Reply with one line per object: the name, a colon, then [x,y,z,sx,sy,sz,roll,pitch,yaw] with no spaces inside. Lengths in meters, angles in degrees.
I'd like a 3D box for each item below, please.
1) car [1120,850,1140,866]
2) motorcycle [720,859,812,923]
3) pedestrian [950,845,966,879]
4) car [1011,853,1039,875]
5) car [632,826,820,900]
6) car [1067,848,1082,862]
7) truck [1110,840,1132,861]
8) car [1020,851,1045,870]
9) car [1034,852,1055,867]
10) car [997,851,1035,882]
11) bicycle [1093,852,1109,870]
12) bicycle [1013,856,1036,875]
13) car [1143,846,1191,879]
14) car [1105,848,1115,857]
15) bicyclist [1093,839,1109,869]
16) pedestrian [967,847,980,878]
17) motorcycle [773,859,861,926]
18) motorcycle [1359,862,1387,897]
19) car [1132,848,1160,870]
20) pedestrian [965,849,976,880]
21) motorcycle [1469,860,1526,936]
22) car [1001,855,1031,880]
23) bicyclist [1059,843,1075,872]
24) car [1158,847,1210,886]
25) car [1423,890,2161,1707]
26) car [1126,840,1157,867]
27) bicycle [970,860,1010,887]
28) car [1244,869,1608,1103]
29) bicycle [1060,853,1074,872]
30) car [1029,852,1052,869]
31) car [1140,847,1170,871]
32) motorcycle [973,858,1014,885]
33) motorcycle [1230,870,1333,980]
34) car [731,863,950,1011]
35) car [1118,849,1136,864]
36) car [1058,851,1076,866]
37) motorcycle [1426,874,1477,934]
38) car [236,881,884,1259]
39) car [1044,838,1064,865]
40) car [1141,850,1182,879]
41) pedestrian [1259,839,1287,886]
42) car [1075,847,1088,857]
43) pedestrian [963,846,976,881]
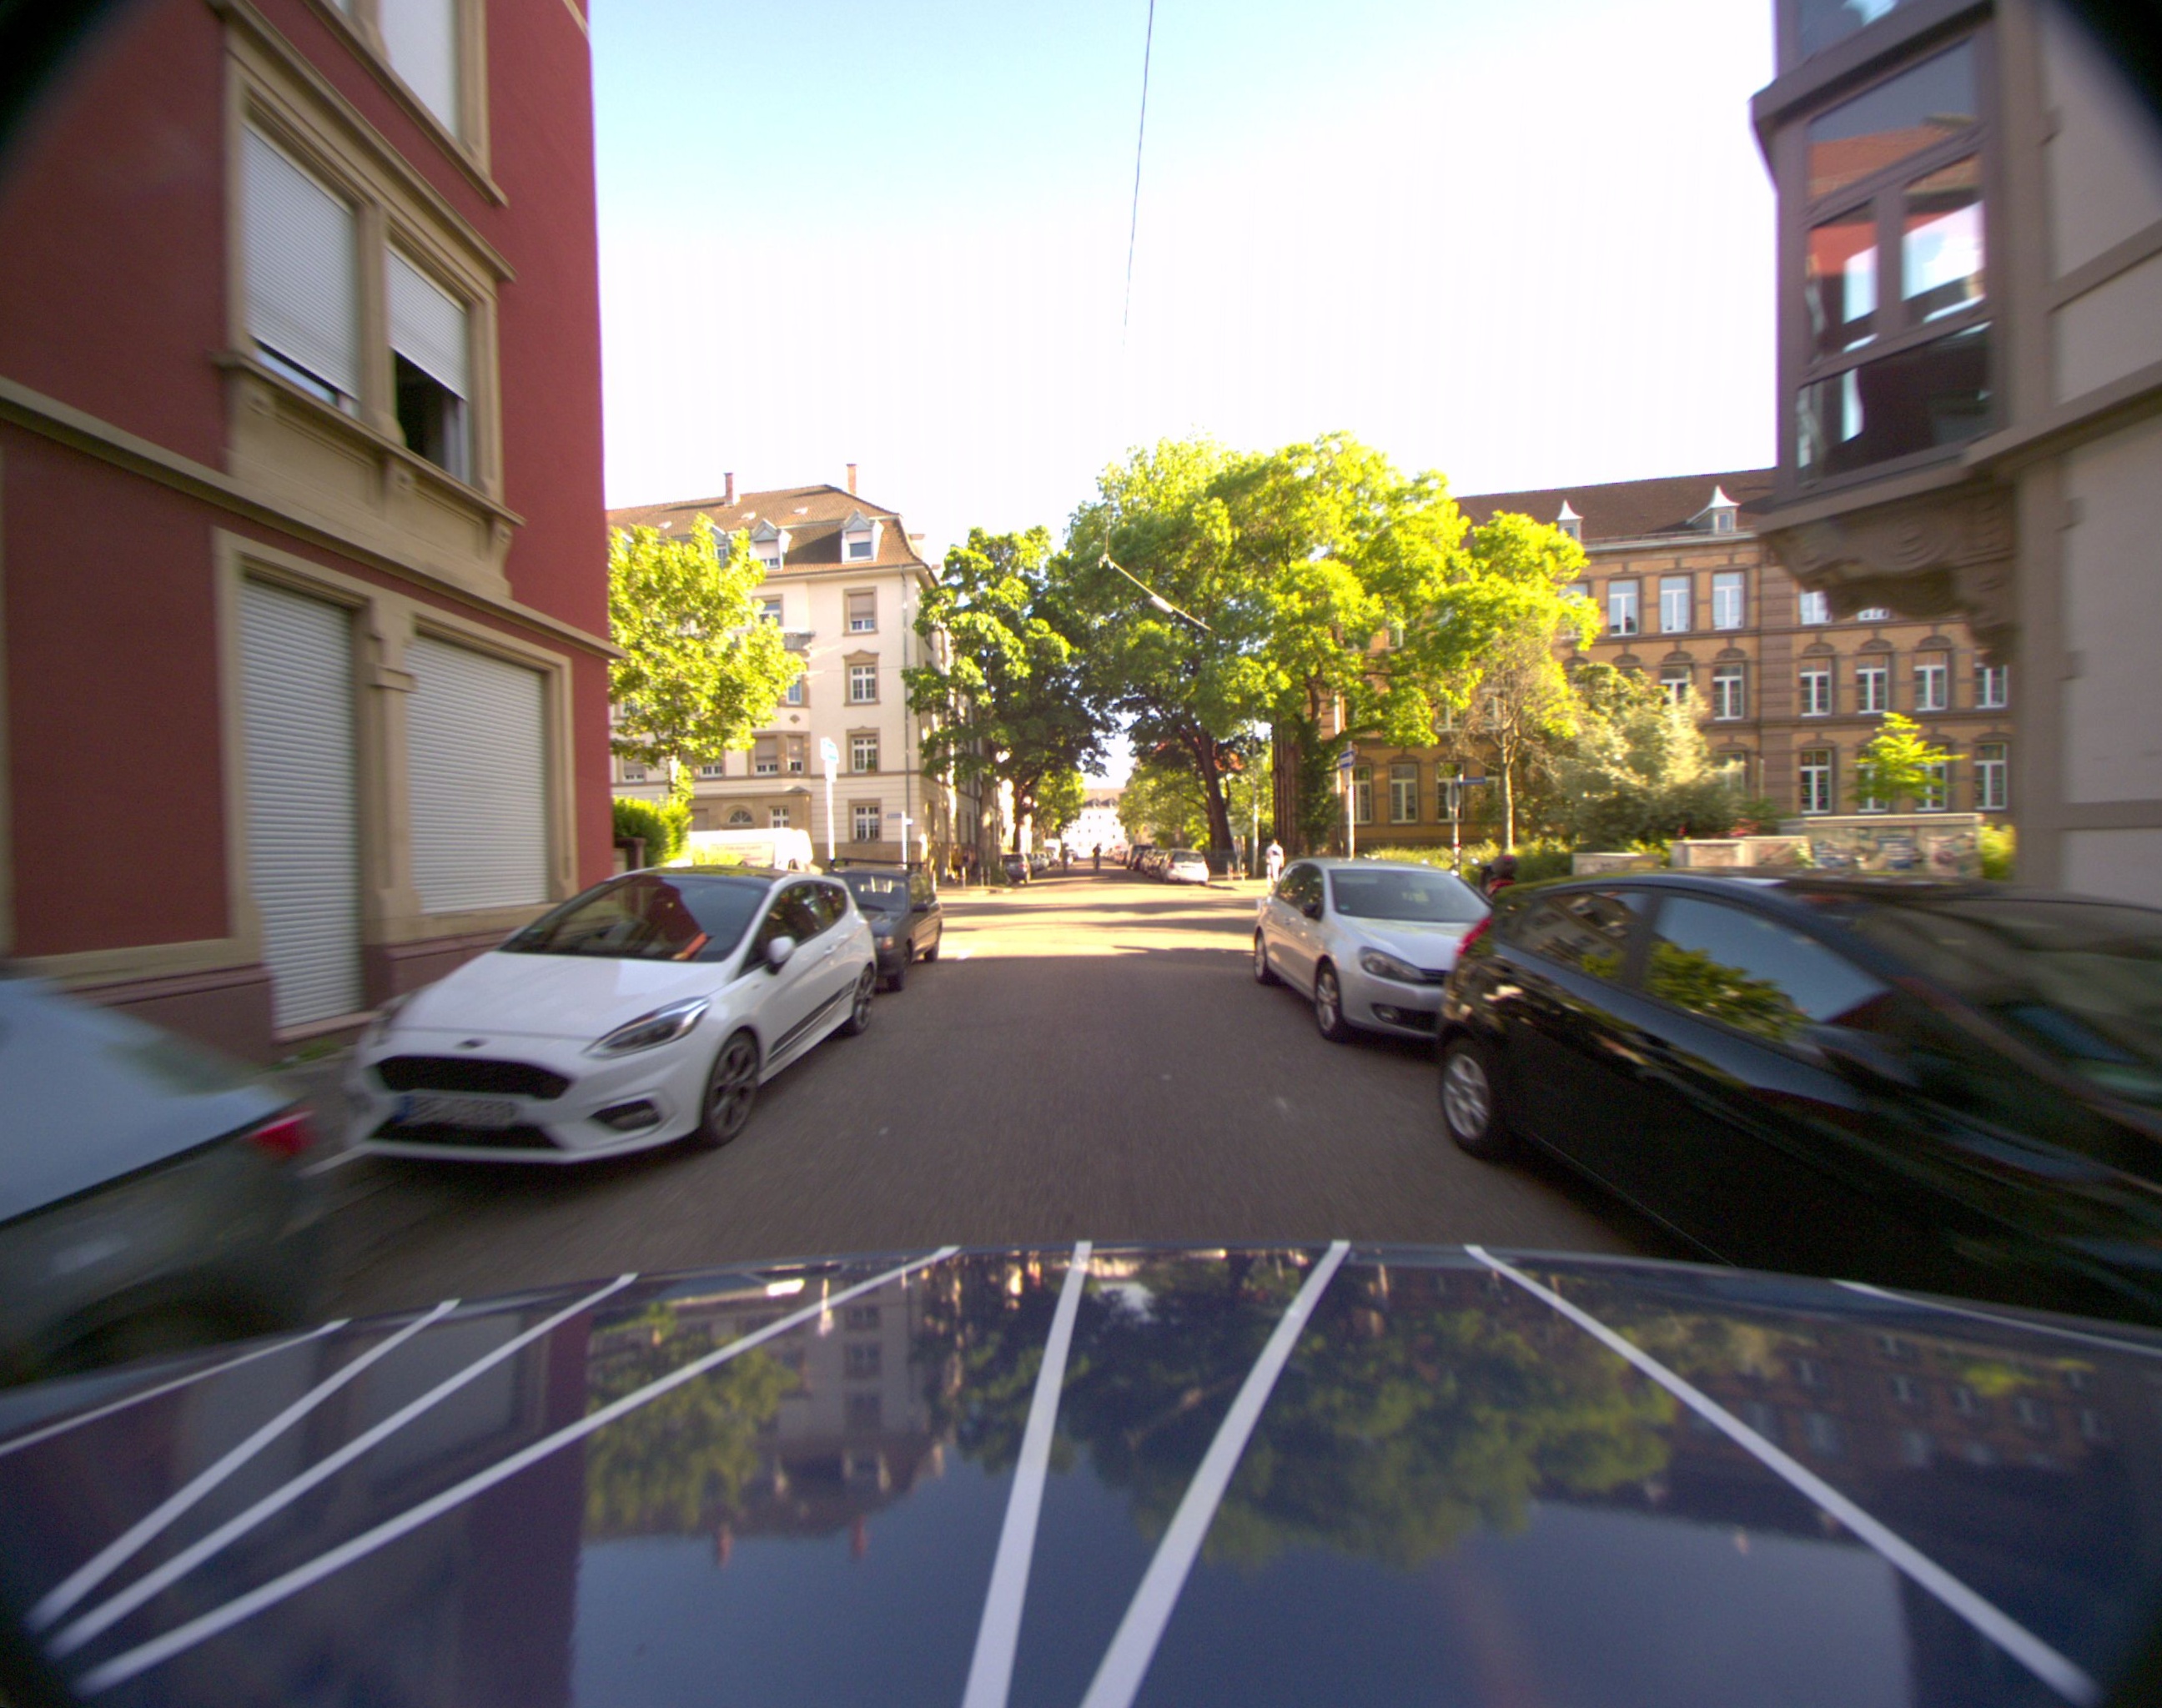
car: [4.764,0.382,74.045,1.739,1.456,4.000,0,0,1]
motorcycle: [-7.646,0.854,18.630,0.870,1.396,2.544,0,1,9]
pedestrian: [-6.083,0.384,37.615,0.624,1.675,0.818,0,1,0]
car: [-3.987,0.692,54.375,1.639,1.523,4.000,0,0,1]
car: [-12.414,0.295,26.757,5.655,2.453,2.307,0,1,10]
car: [-0.926,0.120,109.435,2.146,2.002,4.863,0,0,1]
truck: [5.134,-0.509,98.169,2.395,2.642,7.092,0,1,-1]
car: [-3.790,0.454,60.144,1.651,1.434,4.000,0,0,1]
car: [-3.508,0.516,73.597,1.812,1.412,4.000,0,0,1]
car: [-3.418,0.615,40.362,1.685,1.531,4.134,1,0,-1]
bicycle: [1.295,0.451,49.148,0.985,1.136,2.547,0,1,0]
bicycle: [-3.658,0.723,49.188,1.414,1.188,0.336,-1,1,-2]
car: [4.401,0.401,39.386,1.586,1.456,3.997,3,1,-6]
car: [5.061,-0.266,134.174,1.597,1.557,3.999,0,1,0]
bicyclist: [1.277,-0.028,49.171,0.967,1.904,1.139,0,1,1]
pedestrian: [-6.463,0.513,45.805,0.706,1.834,0.840,-1,1,-5]
motorcycle: [-6.348,0.883,18.481,0.873,1.516,2.625,0,0,9]
motorcycle: [10.009,0.857,26.123,0.543,1.095,1.897,0,1,10]
car: [4.573,0.321,53.953,1.731,1.455,3.844,1,0,1]
pedestrian: [-6.501,0.604,44.660,0.529,1.834,0.707,0,1,2]
motorcycle: [7.505,0.747,13.767,0.612,1.190,2.046,0,2,20]
car: [-3.935,0.788,46.017,1.728,1.399,3.854,0,0,-4]
bicyclist: [-0.893,0.215,49.101,0.934,1.809,1.078,0,1,1]
car: [4.506,0.498,33.782,1.710,1.549,3.952,3,1,0]
car: [2.672,0.949,2.156,1.785,1.474,3.742,0,0,1]
car: [4.694,-0.033,59.559,1.998,1.946,5.042,2,1,1]
bicycle: [-4.238,0.900,35.194,1.795,1.155,0.434,1,1,16]
car: [2.759,0.938,7.130,1.785,1.474,3.932,0,0,3]
bicycle: [-0.897,0.539,49.164,0.810,1.136,2.547,0,1,0]
car: [-3.677,0.562,69.128,1.824,1.521,4.000,0,0,1]
car: [4.773,0.319,49.275,1.624,1.455,3.310,1,0,1]
motorcycle: [-4.129,0.838,36.061,1.855,1.205,0.678,2,-1,-3]
motorcycle: [2.742,0.923,10.649,0.678,1.326,1.999,2,0,-6]
car: [-2.852,0.902,9.878,1.672,1.474,3.705,0,0,0]
car: [4.833,0.226,80.395,1.755,1.464,4.000,-2,1,1]
car: [-1.436,0.429,78.594,1.654,1.449,4.000,0,0,1]
motorcycle: [7.781,1.015,16.025,0.640,1.083,1.872,0,2,16]
car: [-2.756,1.009,5.263,1.709,1.454,3.970,0,0,0]
car: [-3.198,-0.301,90.684,1.998,2.983,6.238,-3,1,1]
car: [4.602,0.580,43.891,1.793,1.524,3.999,3,0,-1]
pedestrian: [7.287,0.319,28.833,0.805,1.736,1.006,0,1,1]
car: [0.109,-0.340,139.945,2.146,1.758,4.809,0,0,2]
pedestrian: [-5.462,0.455,37.244,0.520,1.709,0.516,-1,1,-1]
